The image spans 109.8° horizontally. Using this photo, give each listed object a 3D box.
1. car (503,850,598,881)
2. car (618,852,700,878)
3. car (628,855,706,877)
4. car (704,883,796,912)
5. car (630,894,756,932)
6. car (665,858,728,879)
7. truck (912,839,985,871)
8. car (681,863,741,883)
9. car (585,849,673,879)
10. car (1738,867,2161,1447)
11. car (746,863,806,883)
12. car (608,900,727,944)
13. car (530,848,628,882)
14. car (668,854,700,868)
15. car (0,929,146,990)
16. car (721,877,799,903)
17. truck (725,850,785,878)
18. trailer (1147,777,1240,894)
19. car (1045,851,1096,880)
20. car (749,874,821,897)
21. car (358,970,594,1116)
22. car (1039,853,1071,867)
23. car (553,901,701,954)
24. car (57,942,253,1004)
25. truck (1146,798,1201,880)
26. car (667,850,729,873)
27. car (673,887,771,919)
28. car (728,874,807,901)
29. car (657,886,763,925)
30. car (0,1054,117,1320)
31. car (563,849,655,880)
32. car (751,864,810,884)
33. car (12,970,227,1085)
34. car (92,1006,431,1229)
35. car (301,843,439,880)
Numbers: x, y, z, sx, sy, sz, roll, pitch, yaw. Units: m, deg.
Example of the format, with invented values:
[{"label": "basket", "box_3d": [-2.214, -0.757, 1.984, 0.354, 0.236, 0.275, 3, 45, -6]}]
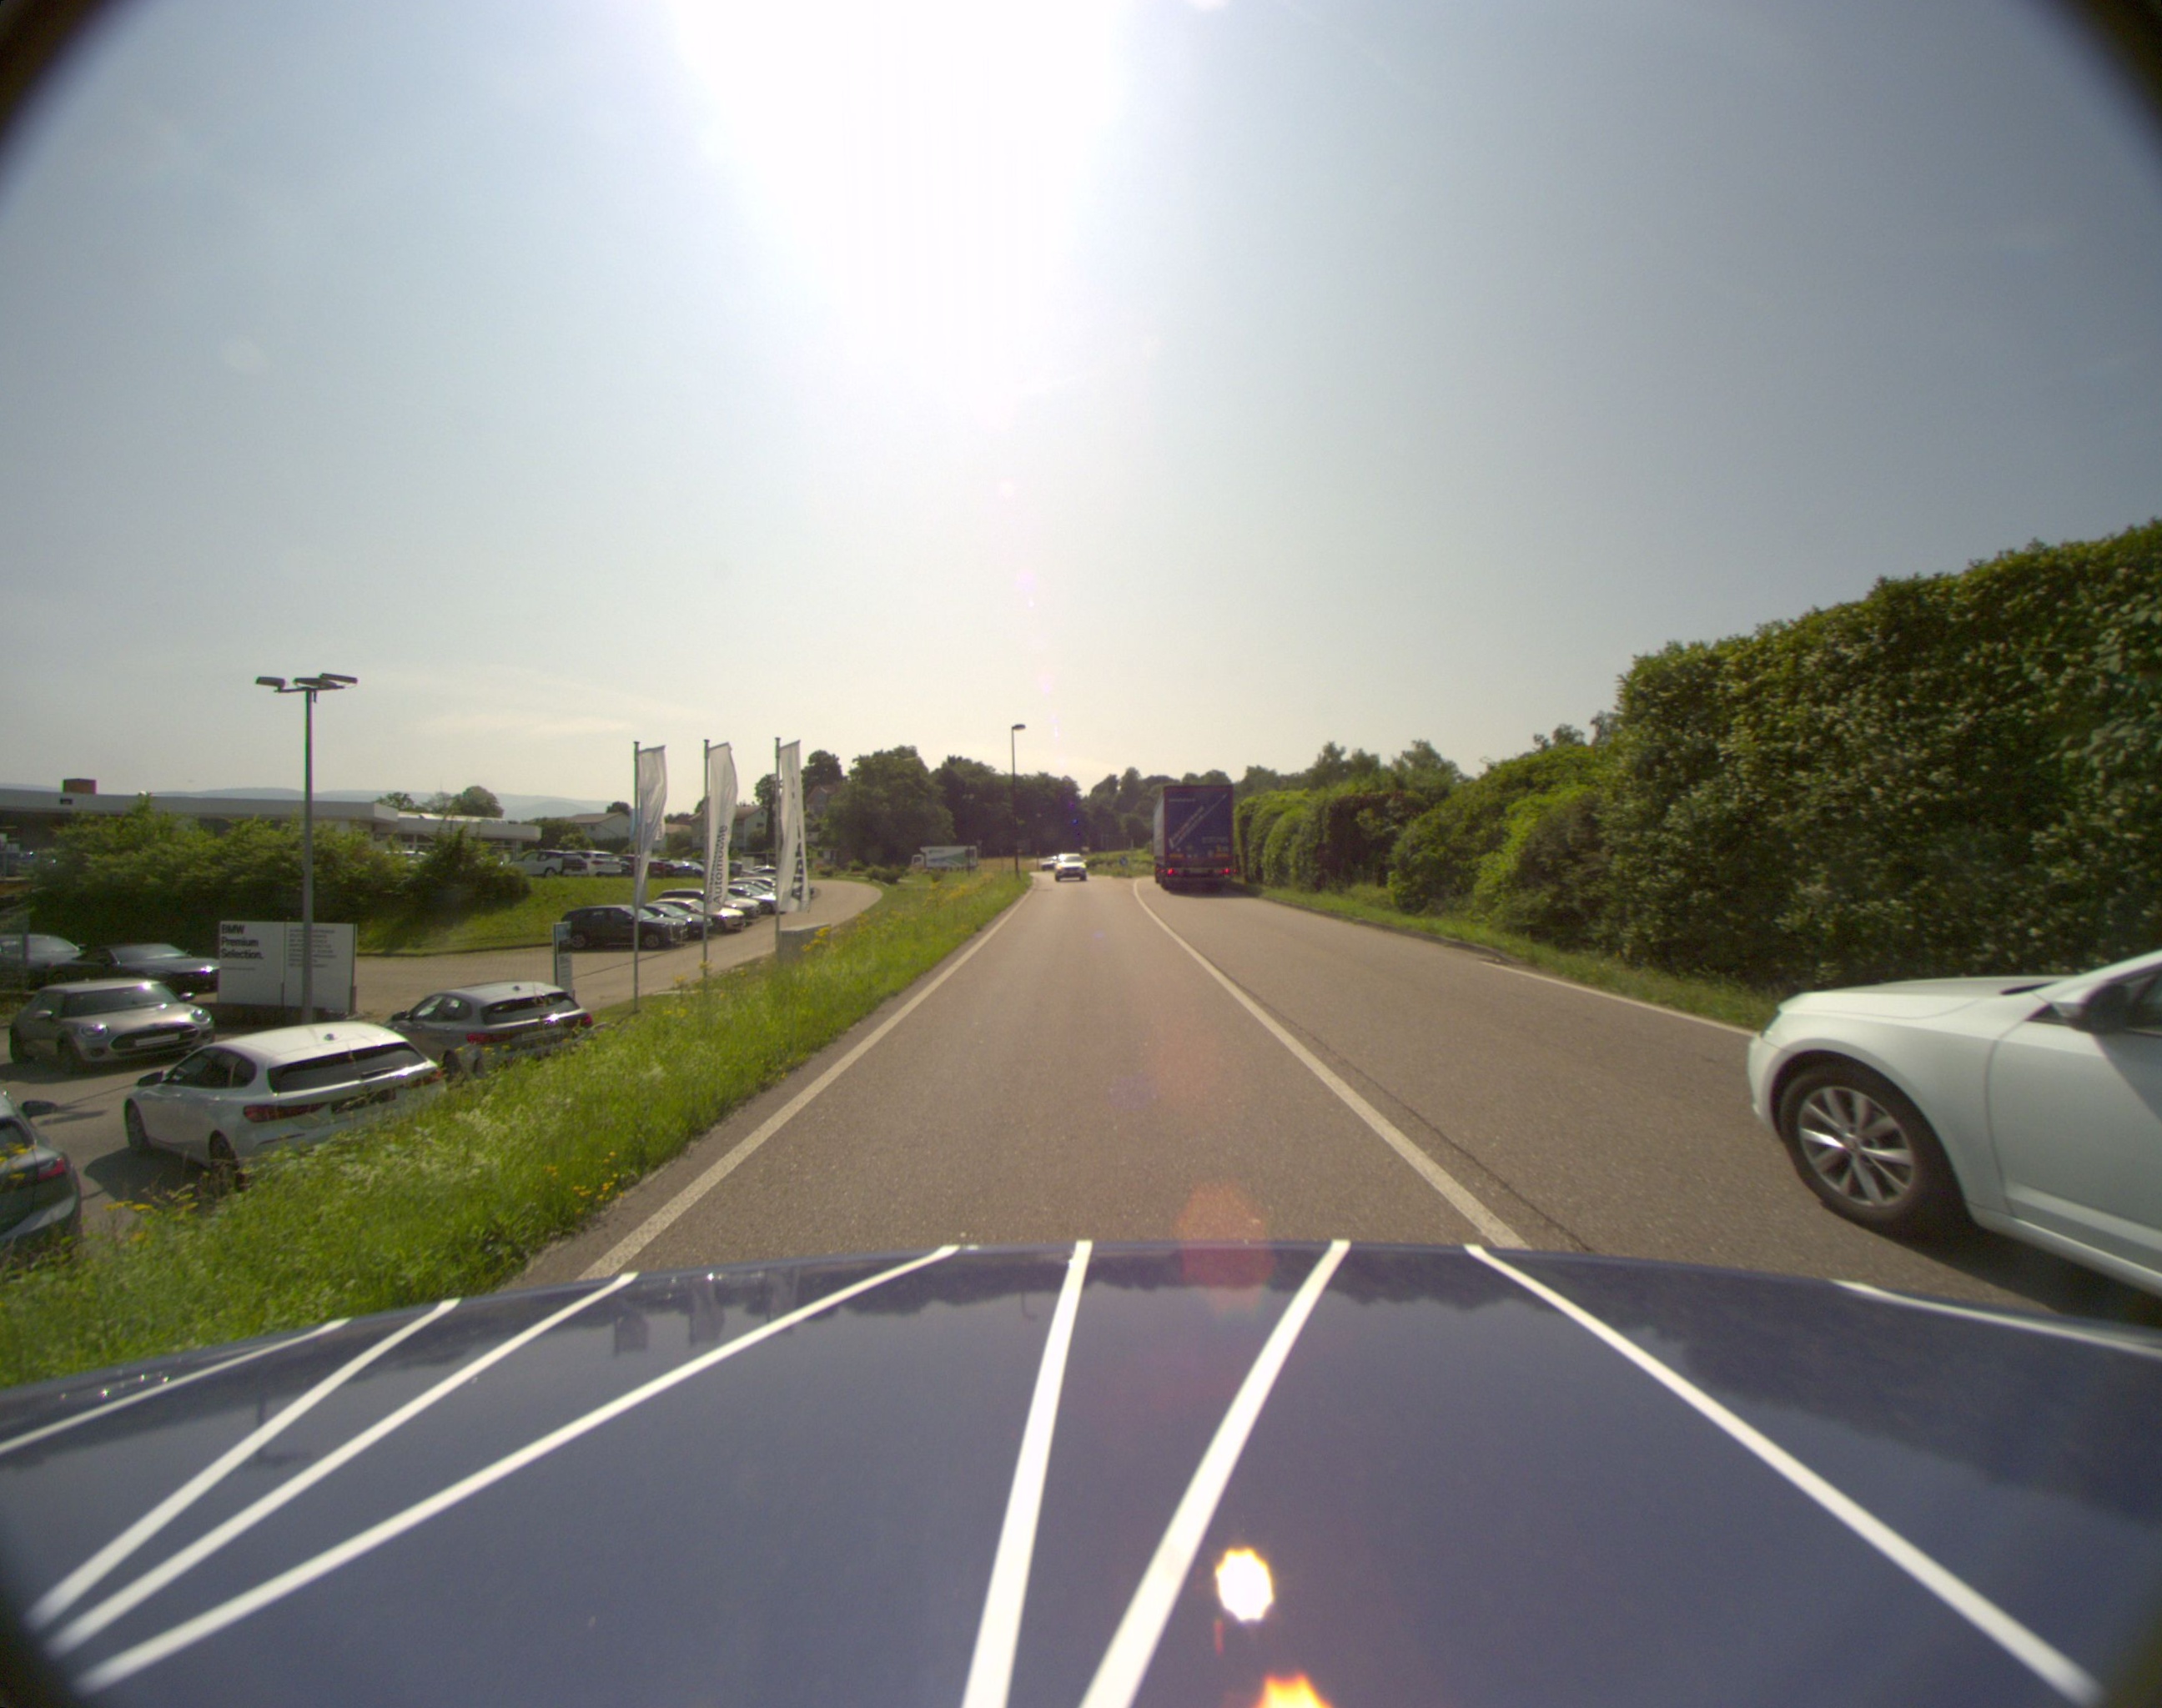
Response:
[{"label": "car", "box_3d": [-26.813, 0.586, 38.428, 3.880, 1.523, 1.770, 0, 0, 13]}, {"label": "car", "box_3d": [-27.288, 0.732, 49.125, 4.460, 1.625, 1.952, 0, 0, 13]}, {"label": "car", "box_3d": [-28.215, 0.818, 51.796, 4.460, 1.491, 1.952, 0, 0, 13]}, {"label": "car", "box_3d": [-18.448, 2.429, 42.581, 4.437, 1.457, 1.920, 1, 2, -14]}, {"label": "car", "box_3d": [-17.910, 2.726, 35.241, 4.781, 1.500, 1.998, 1, 2, -6]}, {"label": "car", "box_3d": [-28.948, 1.093, 57.242, 4.000, 1.517, 1.953, 0, 0, 19]}, {"label": "truck", "box_3d": [-17.158, 0.093, 98.657, 9.023, 3.807, 2.898, -2, 1, -8]}, {"label": "car", "box_3d": [-32.247, 1.659, 66.191, 4.418, 1.491, 1.951, 2, 1, 13]}, {"label": "car", "box_3d": [-27.441, 0.609, 46.194, 4.460, 1.737, 1.952, 0, 0, 13]}, {"label": "car", "box_3d": [3.776, 0.837, 1.126, 1.833, 1.462, 4.410, -2, 0, 1]}, {"label": "car", "box_3d": [-26.537, 1.642, 66.045, 4.673, 1.561, 1.764, 2, -1, -26]}, {"label": "car", "box_3d": [-17.714, 2.883, 32.739, 4.000, 1.543, 1.997, 0, 2, -10]}, {"label": "car", "box_3d": [-27.074, 0.586, 41.021, 4.460, 1.737, 1.841, 0, 0, 13]}, {"label": "car", "box_3d": [-43.857, 0.733, 83.881, 1.914, 1.503, 4.363, 0, -1, -44]}, {"label": "car", "box_3d": [-30.404, 3.054, 22.223, 4.451, 1.462, 1.985, -2, 1, 12]}, {"label": "car", "box_3d": [-20.011, 2.231, 47.578, 4.264, 1.474, 1.919, 1, 2, -14]}, {"label": "truck", "box_3d": [-32.179, 0.991, 75.023, 5.615, 2.649, 1.952, 0, 0, 19]}, {"label": "trailer", "box_3d": [4.781, -0.739, 35.420, 2.676, 4.216, 14.567, -2, 0, 3]}, {"label": "car", "box_3d": [-0.727, 0.696, 47.289, 2.198, 1.642, 5.116, -2, 0, -12]}, {"label": "car", "box_3d": [-20.422, 2.164, 52.596, 4.577, 1.413, 1.779, 1, 3, -20]}, {"label": "car", "box_3d": [-9.799, 2.863, 12.230, 4.161, 1.514, 1.693, -2, 1, 33]}, {"label": "car", "box_3d": [-3.355, 0.797, 100.656, 2.193, 1.642, 6.026, -2, 0, 19]}, {"label": "car", "box_3d": [-17.913, 2.878, 30.208, 4.495, 1.631, 2.145, -2, 2, -10]}, {"label": "car", "box_3d": [-25.150, 3.203, 20.681, 3.944, 1.368, 1.720, -2, 1, 12]}, {"label": "truck", "box_3d": [5.085, -0.810, 42.753, 2.519, 4.233, 6.113, -1, 1, 2]}, {"label": "car", "box_3d": [-30.409, 0.607, 60.369, 4.001, 1.740, 1.952, 1, 0, 13]}, {"label": "car", "box_3d": [-18.804, 2.553, 39.931, 4.261, 1.457, 1.872, 0, 2, -6]}, {"label": "car", "box_3d": [-20.478, 2.200, 49.793, 4.575, 1.557, 1.919, 1, 2, -14]}, {"label": "car", "box_3d": [-18.320, 2.533, 37.680, 4.261, 1.739, 1.998, 1, 2, -6]}, {"label": "car", "box_3d": [-10.336, 2.891, 6.477, 4.161, 1.514, 1.859, -2, 1, 28]}, {"label": "car", "box_3d": [-27.161, 0.600, 43.772, 4.460, 1.737, 1.841, 0, 0, 13]}, {"label": "car", "box_3d": [-25.251, 1.683, 63.981, 4.582, 1.561, 1.765, 0, 1, -20]}, {"label": "car", "box_3d": [-18.195, 3.157, 14.366, 3.794, 1.514, 1.754, -2, 1, 27]}, {"label": "car", "box_3d": [-9.826, 2.884, 9.063, 4.161, 1.514, 1.754, -2, 1, 29]}, {"label": "car", "box_3d": [-32.880, 0.344, 35.304, 1.919, 1.586, 4.309, 0, 0, 16]}]
